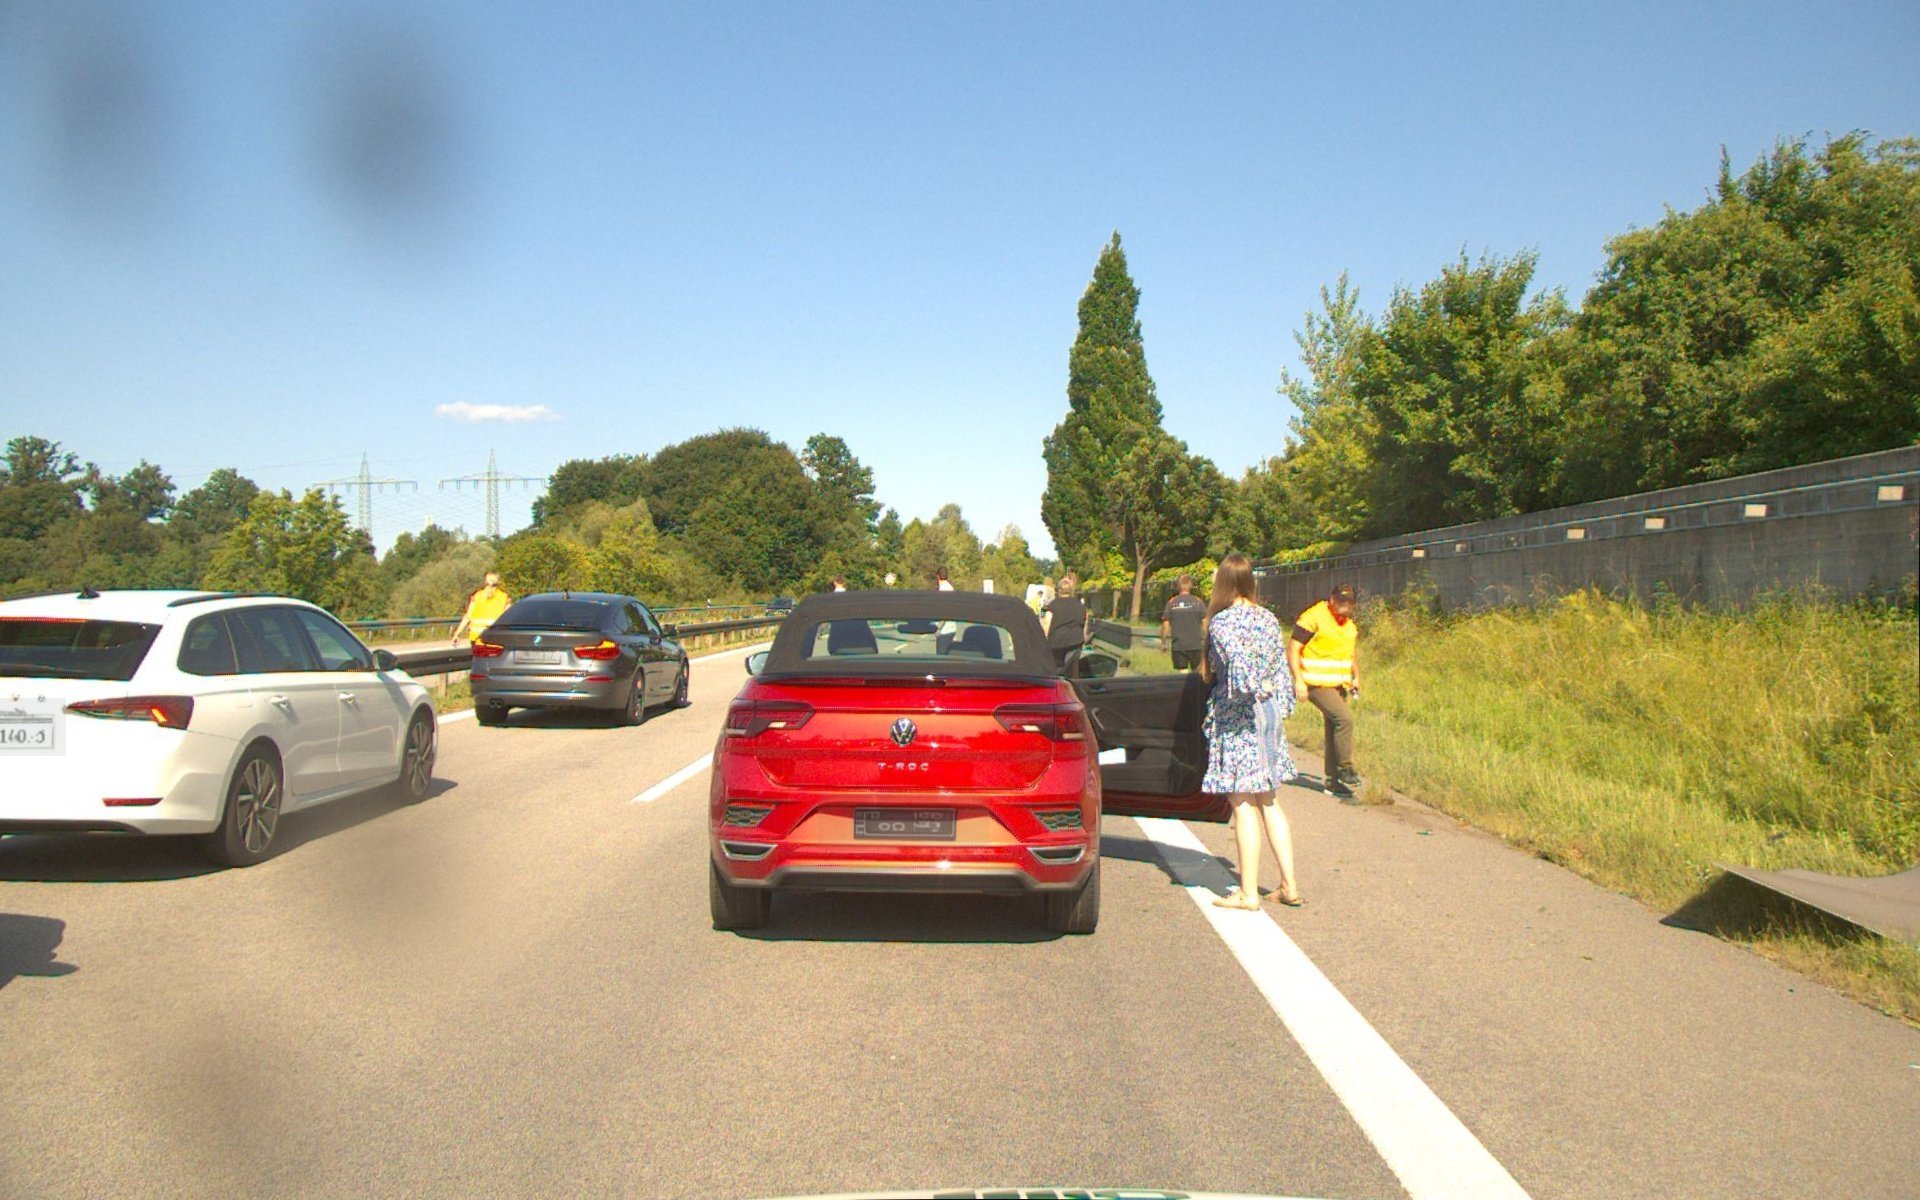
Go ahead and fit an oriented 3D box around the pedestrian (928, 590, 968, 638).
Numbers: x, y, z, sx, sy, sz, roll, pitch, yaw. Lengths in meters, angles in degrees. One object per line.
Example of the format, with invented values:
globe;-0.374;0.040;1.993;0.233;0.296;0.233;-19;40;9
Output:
pedestrian;-0.436;0.507;59.690;1.100;1.719;0.965;1;-1;-27

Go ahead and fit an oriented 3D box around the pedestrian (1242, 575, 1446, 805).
pedestrian;2.975;0.655;12.906;0.947;1.682;1.266;-1;0;-29

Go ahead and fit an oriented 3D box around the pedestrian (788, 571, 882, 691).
pedestrian;-1.936;0.472;25.789;1.081;1.820;1.092;1;-1;19

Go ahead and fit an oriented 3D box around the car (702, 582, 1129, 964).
car;-0.175;0.691;8.772;1.697;1.513;4.210;1;0;0

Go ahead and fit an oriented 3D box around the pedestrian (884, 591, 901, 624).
pedestrian;-3.588;0.406;87.483;0.775;1.719;0.793;1;-1;5

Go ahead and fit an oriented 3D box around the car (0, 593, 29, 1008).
car;-3.947;0.746;3.986;1.757;1.519;4.478;0;0;-13

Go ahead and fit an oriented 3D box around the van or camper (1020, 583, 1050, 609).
van or camper;7.322;-0.376;161.151;1.951;2.356;4.473;1;0;16

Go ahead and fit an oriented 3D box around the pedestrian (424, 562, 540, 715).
pedestrian;-5.791;0.457;20.108;1.019;1.794;1.119;-1;0;3

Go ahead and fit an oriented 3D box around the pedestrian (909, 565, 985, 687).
pedestrian;-0.228;0.409;27.284;1.085;1.946;1.255;-1;0;-8

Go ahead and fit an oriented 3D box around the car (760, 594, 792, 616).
car;-12.567;0.329;113.431;1.677;1.450;4.406;1;0;0

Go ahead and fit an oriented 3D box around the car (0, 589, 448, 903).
car;-4.569;0.682;9.930;1.660;1.467;4.210;1;0;0

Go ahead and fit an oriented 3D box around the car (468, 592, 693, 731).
car;-4.387;0.646;19.758;1.660;1.451;4.334;1;0;0

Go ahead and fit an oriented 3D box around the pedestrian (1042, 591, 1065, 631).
pedestrian;4.159;0.490;73.576;0.975;1.719;1.011;1;0;3

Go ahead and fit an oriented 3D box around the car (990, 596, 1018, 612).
car;4.299;0.343;162.196;1.696;1.513;4.213;1;0;16

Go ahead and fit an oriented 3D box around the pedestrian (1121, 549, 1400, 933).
pedestrian;1.447;0.630;8.127;0.878;1.725;1.121;-1;0;-23

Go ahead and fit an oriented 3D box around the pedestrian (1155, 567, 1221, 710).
pedestrian;2.937;0.492;21.317;0.794;1.790;0.829;1;-1;7

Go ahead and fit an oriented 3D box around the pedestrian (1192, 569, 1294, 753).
pedestrian;2.808;0.584;16.378;0.876;1.755;0.755;1;-1;18

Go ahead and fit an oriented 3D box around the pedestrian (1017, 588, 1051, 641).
pedestrian;2.485;0.480;55.323;1.033;1.719;1.018;1;0;7

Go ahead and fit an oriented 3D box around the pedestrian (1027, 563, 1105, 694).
pedestrian;1.577;0.416;24.797;1.067;1.916;1.068;-1;0;-1
